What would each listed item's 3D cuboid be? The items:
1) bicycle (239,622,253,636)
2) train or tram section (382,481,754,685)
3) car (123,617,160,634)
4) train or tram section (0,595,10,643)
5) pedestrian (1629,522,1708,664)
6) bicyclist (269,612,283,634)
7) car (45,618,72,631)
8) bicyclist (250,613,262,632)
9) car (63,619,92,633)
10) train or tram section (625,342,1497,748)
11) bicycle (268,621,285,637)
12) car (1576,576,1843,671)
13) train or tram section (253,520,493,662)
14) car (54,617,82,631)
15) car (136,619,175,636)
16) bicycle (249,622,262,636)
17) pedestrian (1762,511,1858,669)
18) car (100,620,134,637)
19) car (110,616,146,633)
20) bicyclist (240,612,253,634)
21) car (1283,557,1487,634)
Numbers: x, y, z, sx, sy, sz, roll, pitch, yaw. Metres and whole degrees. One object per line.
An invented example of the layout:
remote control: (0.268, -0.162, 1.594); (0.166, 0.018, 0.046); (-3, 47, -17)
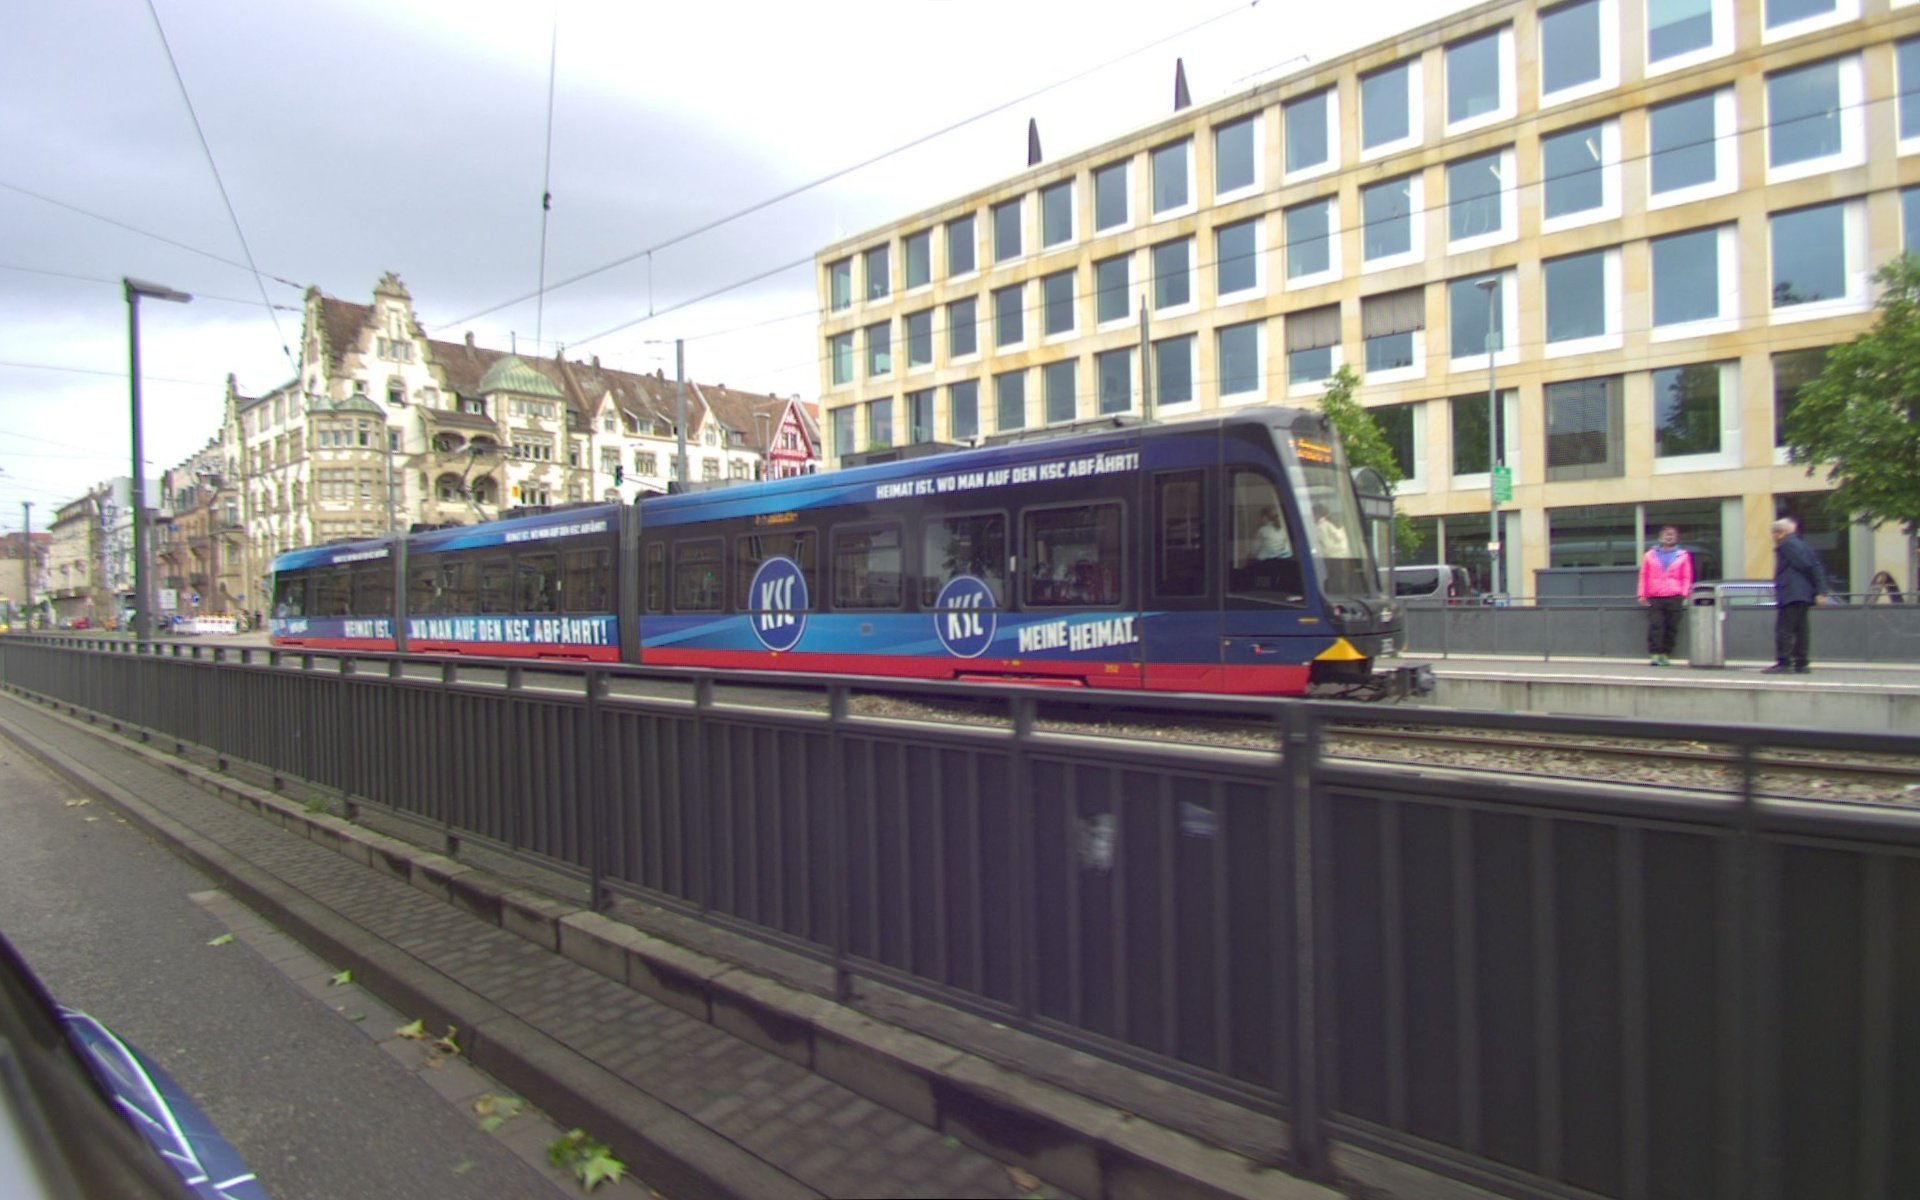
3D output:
bicycle: (-53.723, 2.183, 76.181); (0.712, 1.045, 1.915); (-2, -1, -32)
train or tram section: (-9.476, -0.292, 23.136); (11.694, 3.668, 2.825); (-1, 0, 41)
car: (-78.345, 2.426, 96.834); (3.995, 1.608, 1.974); (-1, 0, 39)
train or tram section: (-75.068, 1.414, 77.198); (13.614, 3.463, 2.617); (-1, 0, 42)
pedestrian: (9.610, -0.095, 13.730); (0.690, 1.868, 0.721); (-1, 0, -42)
bicyclist: (-48.889, 1.657, 72.334); (0.740, 1.532, 0.766); (-1, -1, -42)
car: (-116.030, 3.105, 130.241); (3.995, 1.608, 1.974); (-1, 0, 39)
bicyclist: (-54.683, 1.722, 78.592); (0.697, 1.455, 0.975); (-1, -1, -32)
car: (-106.756, 3.111, 122.407); (3.995, 1.608, 1.974); (-1, 0, 39)
train or tram section: (0.033, -0.480, 14.787); (13.513, 3.720, 2.825); (-1, 0, 41)
bicycle: (-48.875, 2.058, 72.334); (0.740, 1.045, 1.917); (-2, -1, -42)
car: (14.614, 0.412, 19.848); (4.001, 1.674, 1.971); (-1, 0, 44)
train or tram section: (-18.323, -0.214, 31.003); (11.761, 3.668, 2.825); (-1, 0, 42)
car: (-111.237, 2.989, 126.177); (3.995, 1.608, 1.974); (-1, 0, 39)
car: (-73.743, 2.463, 92.760); (3.995, 1.453, 1.974); (-1, 0, 39)
bicycle: (-54.671, 2.228, 78.590); (0.697, 1.045, 2.028); (-1, -1, -32)
pedestrian: (9.818, -0.113, 11.708); (0.590, 1.783, 0.588); (-1, 0, 5)
car: (-88.226, 2.954, 105.910); (3.995, 1.608, 1.974); (-1, 0, 39)
car: (-83.189, 2.468, 101.203); (3.995, 1.608, 1.974); (-1, 0, 39)
bicyclist: (-53.736, 1.714, 76.186); (0.712, 1.618, 0.862); (-2, -1, -32)
car: (9.981, -0.100, 23.920); (4.001, 1.674, 1.971); (-1, 0, 44)
